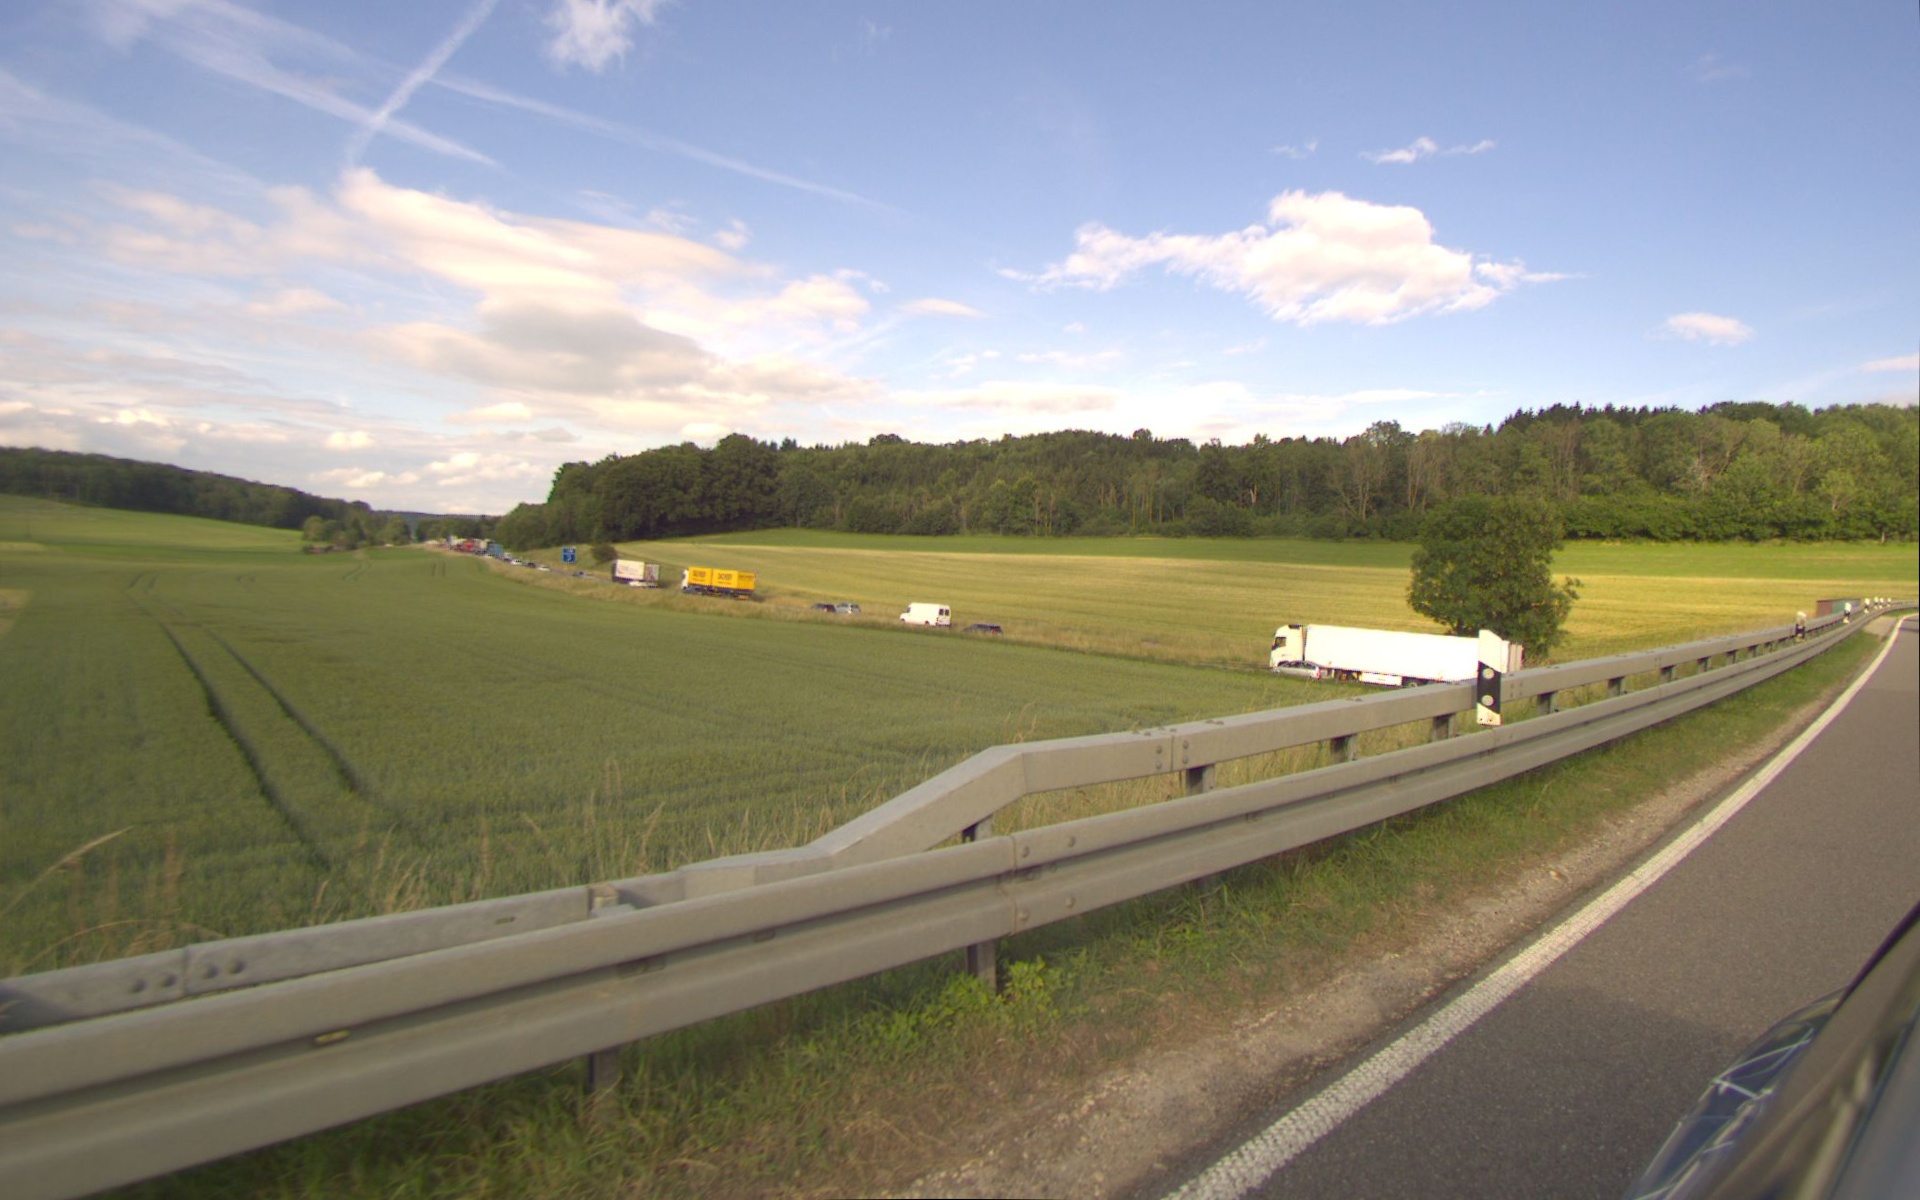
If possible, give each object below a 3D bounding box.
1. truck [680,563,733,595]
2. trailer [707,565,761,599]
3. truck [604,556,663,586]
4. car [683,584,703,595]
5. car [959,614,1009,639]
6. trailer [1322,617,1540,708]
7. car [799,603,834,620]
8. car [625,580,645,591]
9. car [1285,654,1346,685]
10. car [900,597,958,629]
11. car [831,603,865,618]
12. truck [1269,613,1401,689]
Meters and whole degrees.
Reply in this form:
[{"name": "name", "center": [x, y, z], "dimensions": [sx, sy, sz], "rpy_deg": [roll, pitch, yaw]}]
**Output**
[{"name": "truck", "center": [-36.338, -3.094, 144.735], "dimensions": [3.768, 4.108, 9.801], "rpy_deg": [-2, 5, -37]}, {"name": "trailer", "center": [-30.665, -2.506, 137.260], "dimensions": [3.767, 4.108, 9.129], "rpy_deg": [-2, 5, -37]}, {"name": "truck", "center": [-54.070, -4.847, 167.298], "dimensions": [4.010, 4.042, 14.414], "rpy_deg": [-5, 7, -40]}, {"name": "car", "center": [-35.425, -1.410, 134.173], "dimensions": [1.354, 1.283, 3.095], "rpy_deg": [0, 3, -41]}, {"name": "car", "center": [2.118, 2.313, 89.580], "dimensions": [1.750, 1.722, 4.364], "rpy_deg": [-2, 6, -45]}, {"name": "trailer", "center": [30.944, 3.953, 67.296], "dimensions": [2.981, 4.523, 12.705], "rpy_deg": [3, 2, -43]}, {"name": "car", "center": [-15.325, 1.178, 108.019], "dimensions": [1.654, 1.538, 3.993], "rpy_deg": [0, 3, -43]}, {"name": "car", "center": [-47.988, -2.183, 149.441], "dimensions": [1.581, 1.411, 3.321], "rpy_deg": [0, 3, -43]}, {"name": "car", "center": [23.455, 4.552, 66.824], "dimensions": [1.734, 1.662, 3.459], "rpy_deg": [-4, 4, -44]}, {"name": "car", "center": [-3.241, 1.339, 104.135], "dimensions": [2.332, 2.616, 6.115], "rpy_deg": [6, 0, -42]}, {"name": "car", "center": [-12.840, 1.197, 115.719], "dimensions": [1.772, 1.487, 3.994], "rpy_deg": [3, 1, -42]}, {"name": "truck", "center": [26.549, 3.539, 71.994], "dimensions": [2.978, 4.523, 8.042], "rpy_deg": [3, 1, -43]}]
